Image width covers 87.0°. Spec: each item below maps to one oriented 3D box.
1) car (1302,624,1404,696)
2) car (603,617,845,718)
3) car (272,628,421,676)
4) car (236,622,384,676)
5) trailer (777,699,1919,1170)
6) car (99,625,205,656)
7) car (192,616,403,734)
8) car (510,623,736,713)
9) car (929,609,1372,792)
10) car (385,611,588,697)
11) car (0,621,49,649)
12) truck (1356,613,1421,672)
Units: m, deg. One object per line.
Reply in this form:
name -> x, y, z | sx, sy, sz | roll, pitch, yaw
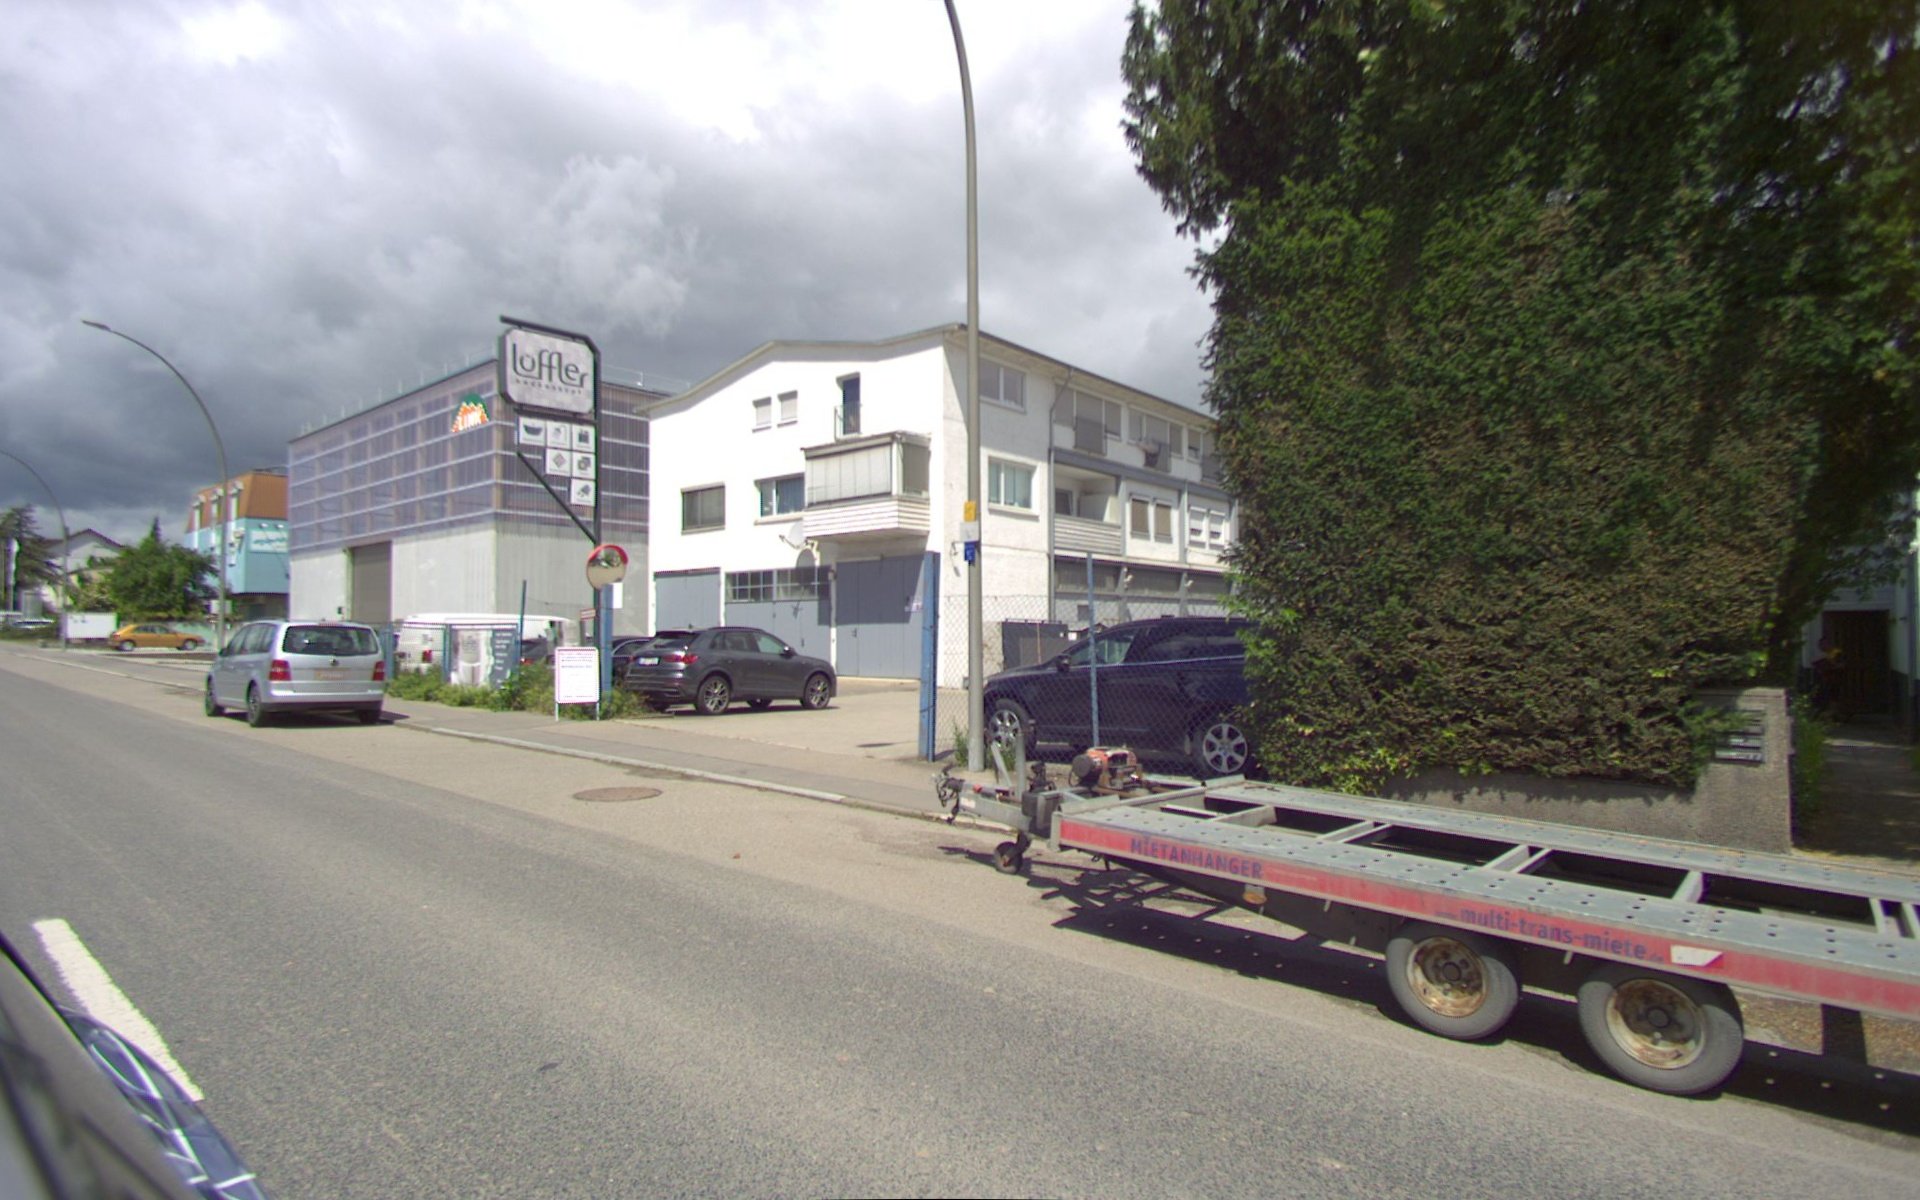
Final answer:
car -> 12.067, 1.799, 30.954 | 1.996, 2.042, 4.087 | -1, -3, 35
car -> -4.331, 1.192, 19.106 | 1.997, 1.683, 4.118 | -1, -2, 38
car -> -20.608, 1.755, 34.123 | 1.775, 1.513, 3.905 | -3, -4, 39
car -> -22.847, 1.711, 35.654 | 1.999, 1.750, 3.945 | 0, -2, 41
trailer -> 2.453, 1.132, 4.449 | 7.455, 0.998, 2.294 | -1, -4, 42
car -> -41.508, 2.099, 52.062 | 1.674, 1.505, 3.994 | -1, -3, 40
car -> -10.880, 1.163, 16.517 | 4.126, 1.689, 1.785 | -1, -4, 41
car -> -6.936, 1.358, 21.136 | 2.101, 1.683, 3.948 | -1, -3, 38
car -> 1.953, 1.004, 11.368 | 4.630, 1.647, 1.788 | -2, -4, 41
car -> -11.343, 1.279, 24.429 | 1.999, 1.891, 3.945 | -1, -3, 41
car -> -69.914, 2.593, 74.604 | 3.940, 2.029, 2.001 | 3, -3, -44
truck -> 21.475, 2.137, 50.652 | 2.087, 2.848, 3.949 | -1, -3, 37
